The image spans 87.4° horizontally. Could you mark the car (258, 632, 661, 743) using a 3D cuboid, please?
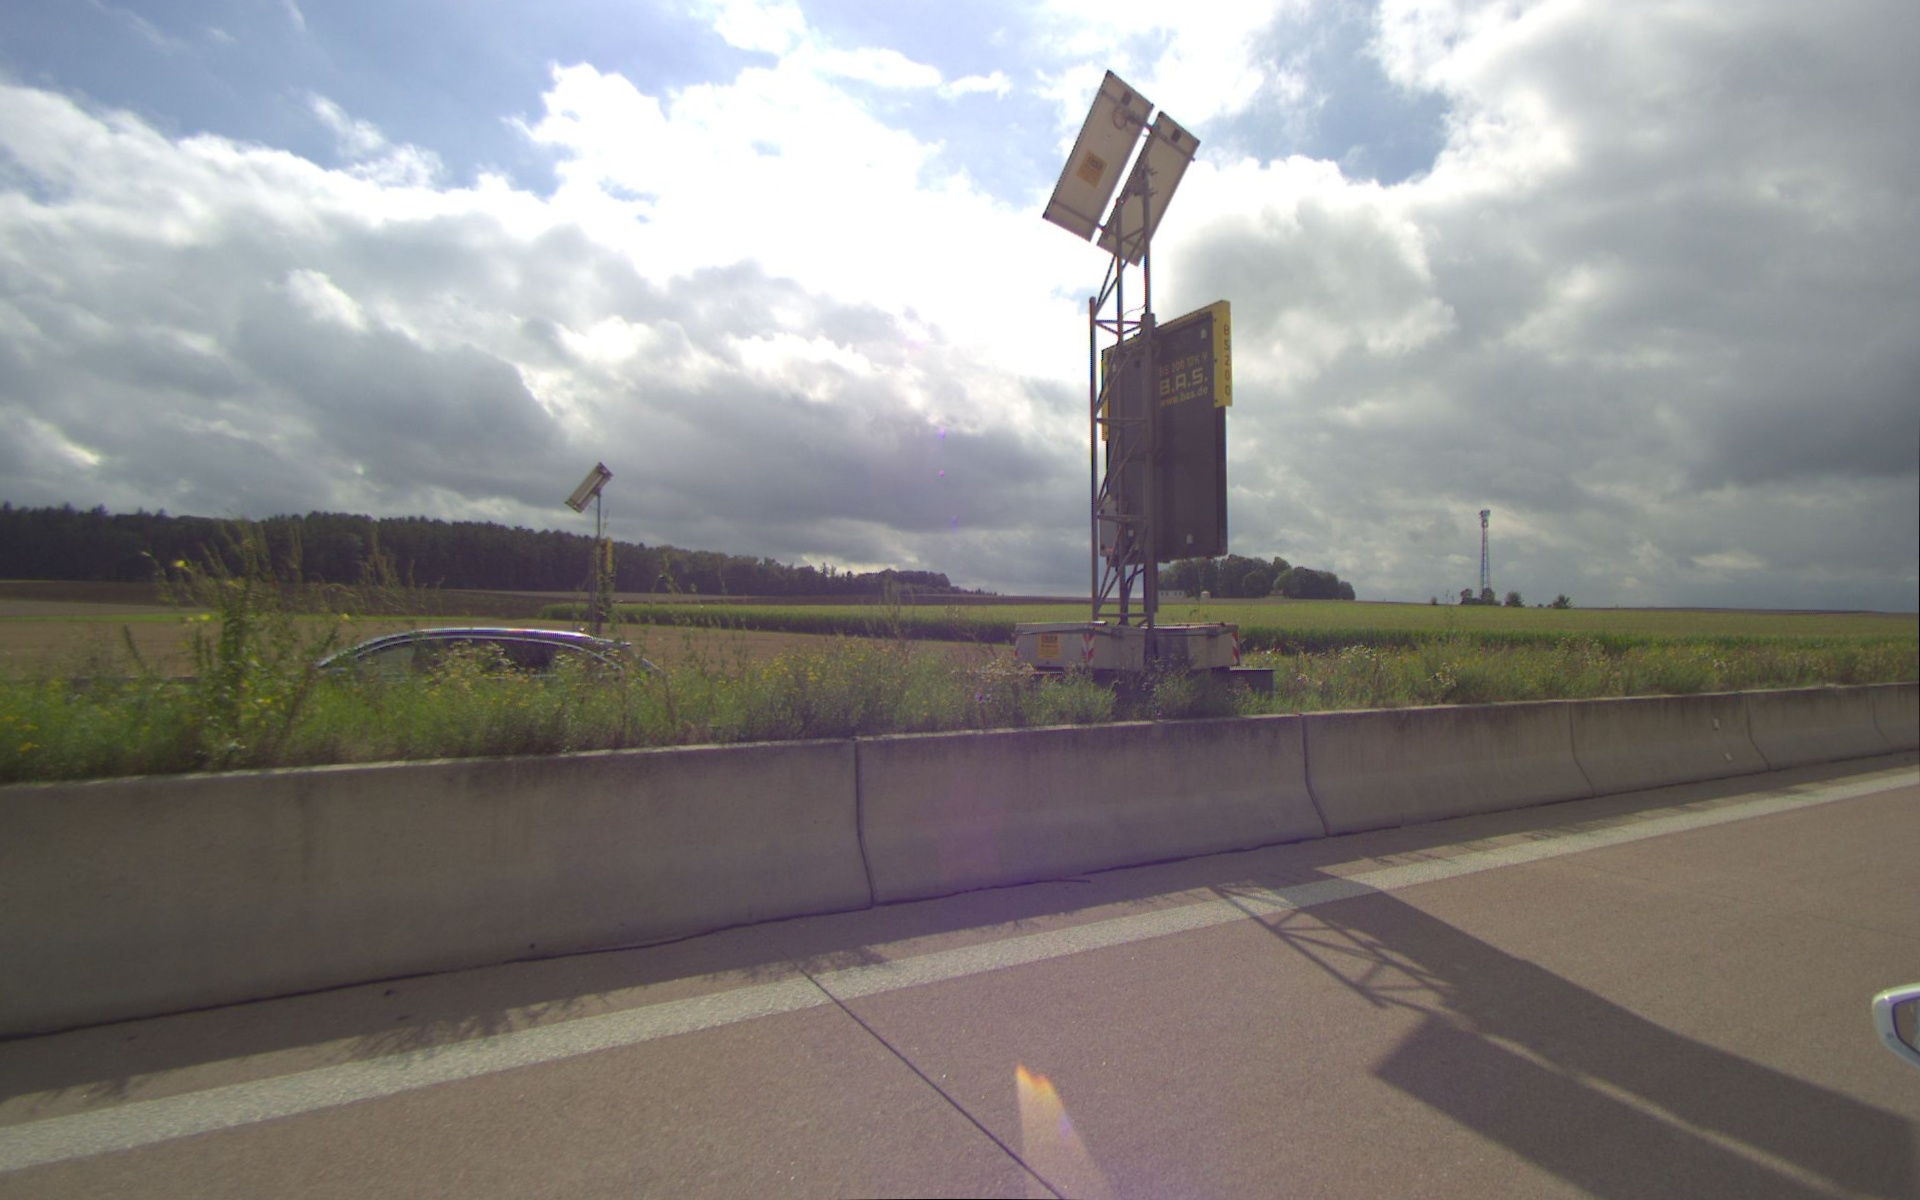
[{"bbox_3d":[-4.566,0.747,9.406,3.132,0.879,1.527,1,-2,-30],"label":"car"}]
